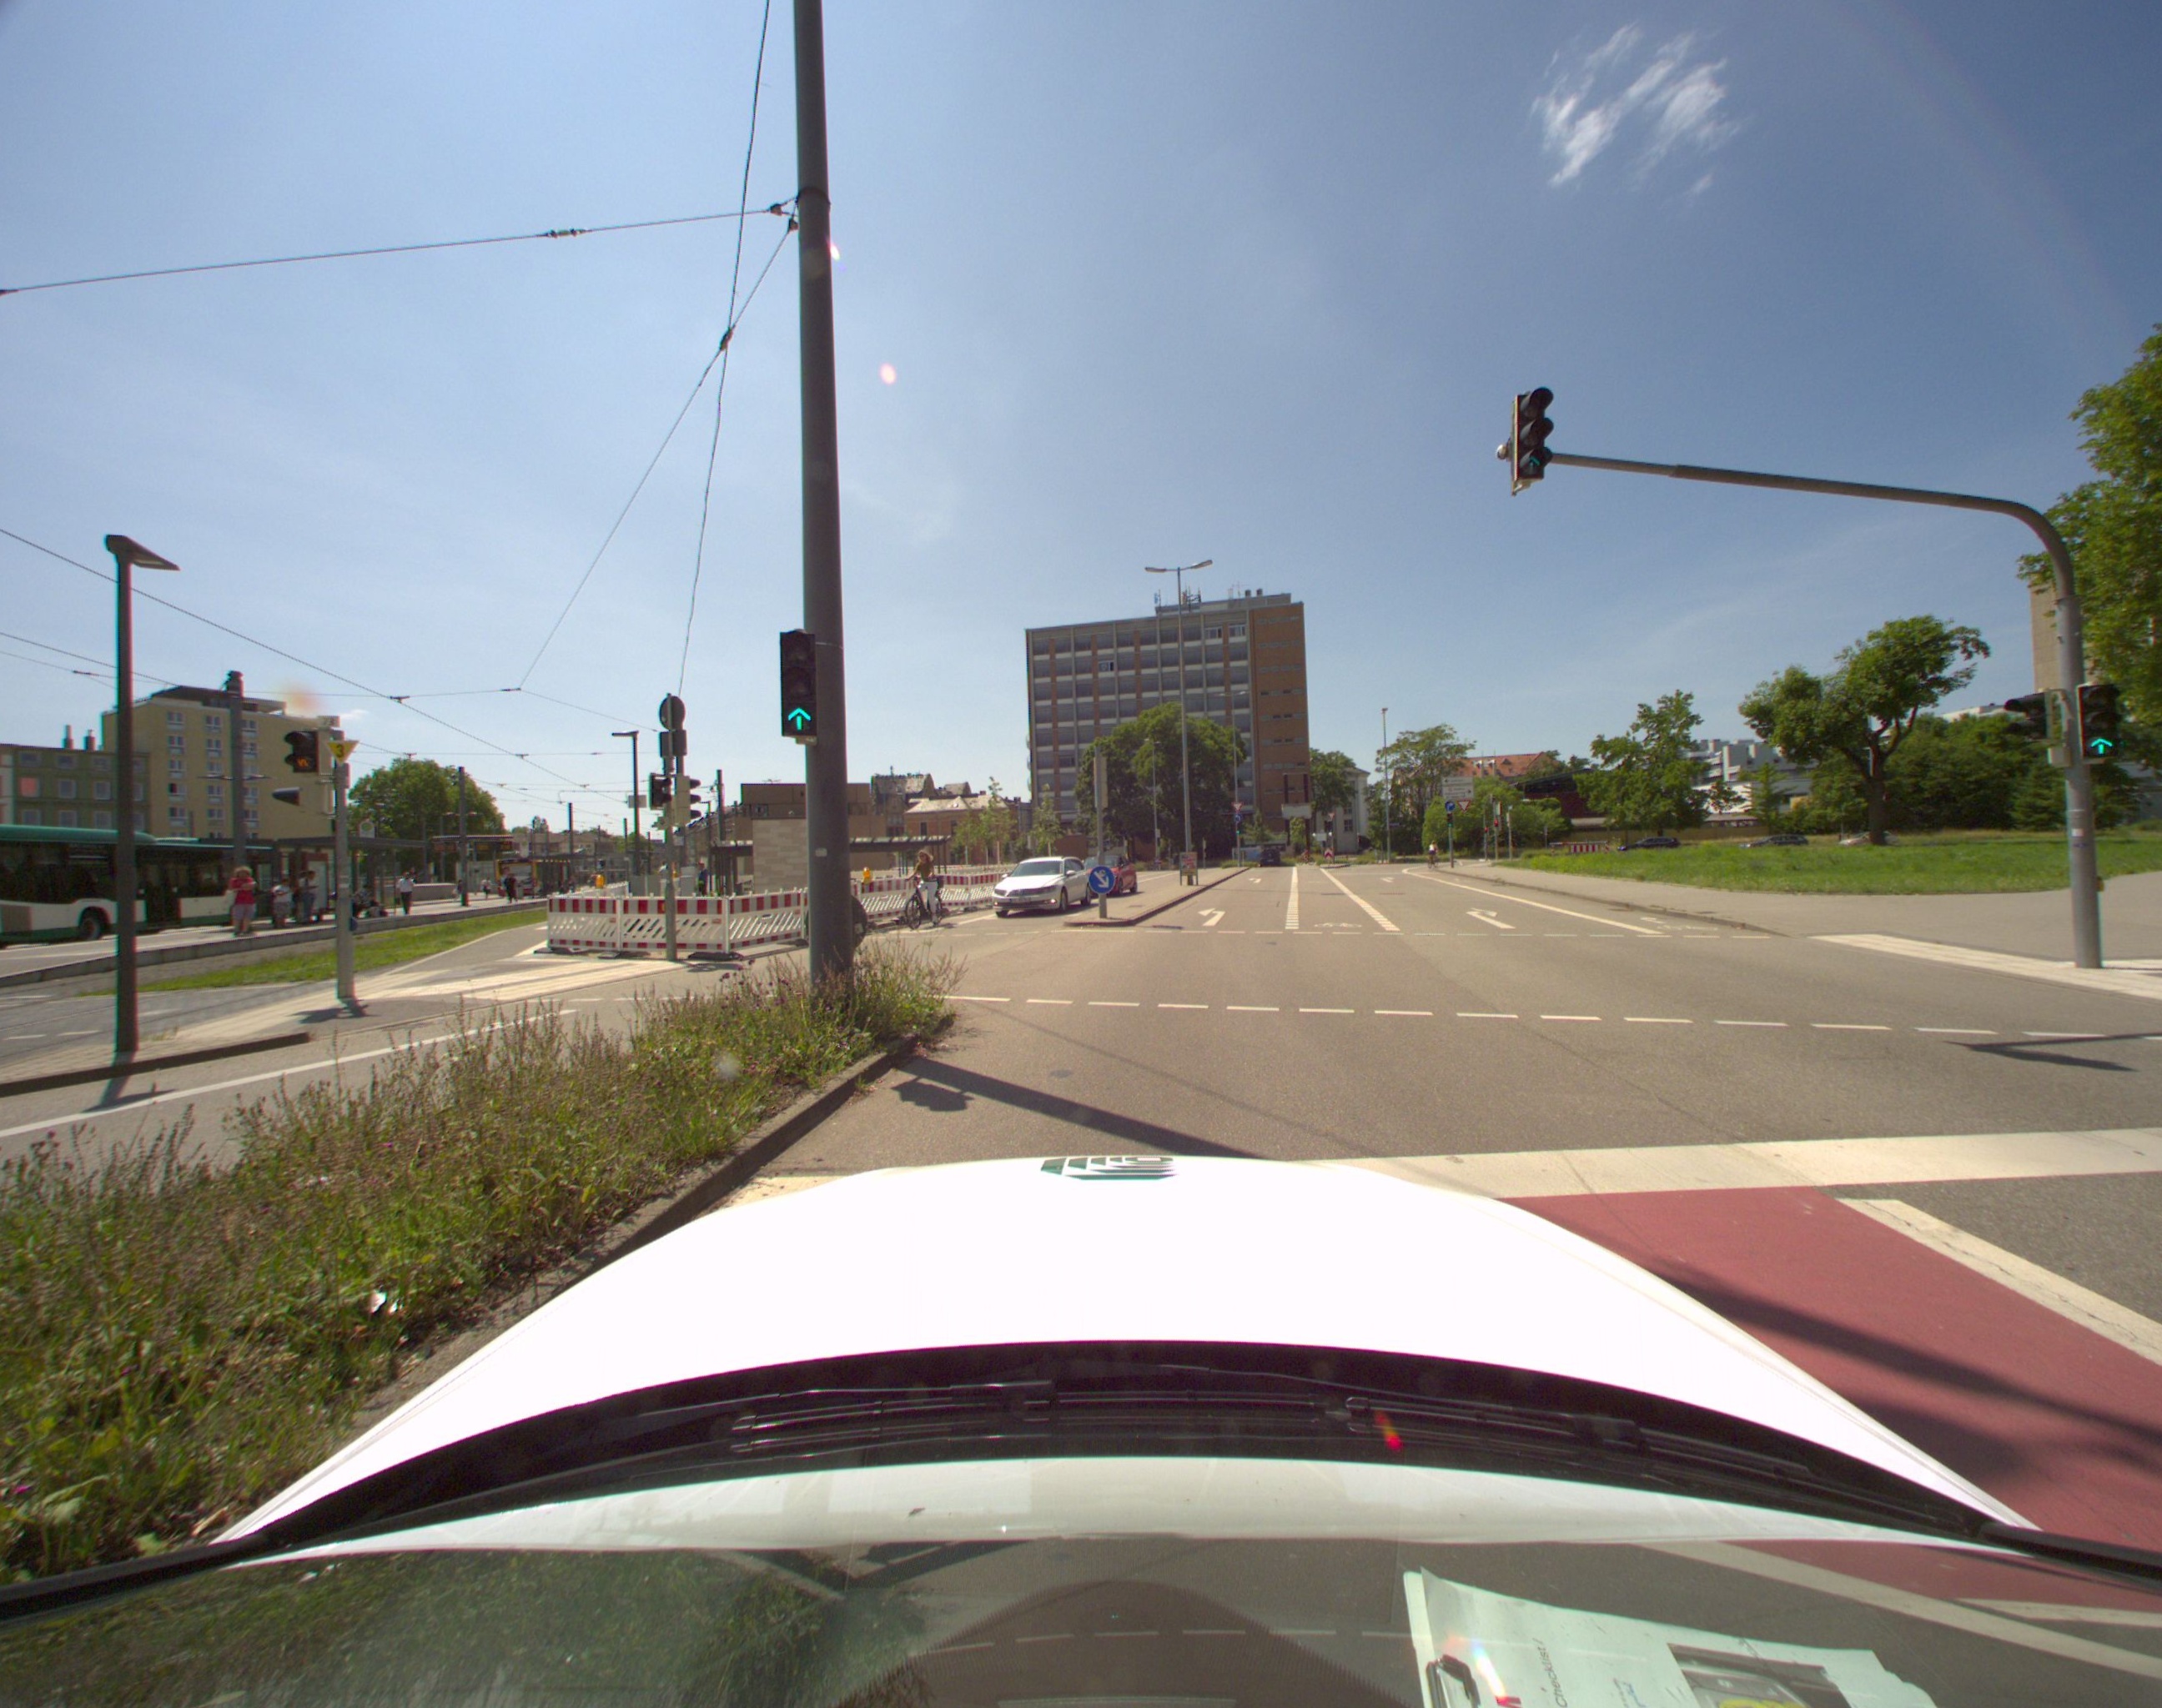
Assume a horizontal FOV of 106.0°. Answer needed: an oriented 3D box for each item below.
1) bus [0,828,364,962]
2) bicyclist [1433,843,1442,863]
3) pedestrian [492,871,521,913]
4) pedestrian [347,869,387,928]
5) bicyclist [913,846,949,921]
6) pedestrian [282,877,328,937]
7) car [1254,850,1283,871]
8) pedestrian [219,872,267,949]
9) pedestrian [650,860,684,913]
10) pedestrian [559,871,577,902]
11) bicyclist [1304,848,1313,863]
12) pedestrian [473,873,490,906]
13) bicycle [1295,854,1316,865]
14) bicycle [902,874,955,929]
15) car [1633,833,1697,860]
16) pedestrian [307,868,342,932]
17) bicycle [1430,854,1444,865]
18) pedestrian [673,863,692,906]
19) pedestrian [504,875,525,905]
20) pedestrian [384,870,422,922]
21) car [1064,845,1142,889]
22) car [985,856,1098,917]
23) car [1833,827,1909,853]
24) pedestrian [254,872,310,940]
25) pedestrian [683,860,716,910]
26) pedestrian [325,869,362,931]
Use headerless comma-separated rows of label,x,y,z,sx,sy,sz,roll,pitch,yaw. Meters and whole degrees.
bus,-29.630,1.156,26.532,3.020,3.158,17.381,-2,0,-19
bicyclist,22.499,-0.066,51.388,0.348,1.227,0.567,-3,-1,37
pedestrian,-29.974,1.957,42.503,0.901,2.096,0.827,-2,0,-16
pedestrian,-26.069,1.609,29.736,0.905,2.096,0.823,-2,-1,-32
bicyclist,-3.547,0.686,19.226,0.562,1.719,0.510,-3,-1,21
pedestrian,-25.058,1.699,26.313,0.917,1.851,0.651,-2,-1,-30
car,14.700,0.530,63.941,1.680,1.527,3.695,-2,0,5
pedestrian,-21.786,1.448,21.178,0.677,1.909,0.634,-2,-1,-30
pedestrian,-15.026,1.165,29.561,0.721,1.864,0.772,-3,-2,29
pedestrian,-36.375,2.284,57.717,0.832,2.096,0.895,-2,0,-21
bicyclist,23.988,0.139,85.884,0.678,1.488,0.789,-3,-2,25
pedestrian,-38.473,2.263,52.244,0.711,2.111,0.649,-2,-1,-44
bicycle,23.732,0.561,85.989,1.988,1.135,0.577,-3,-2,26
bicycle,-3.554,1.088,19.164,0.394,1.174,1.779,-2,0,18
car,48.139,-0.569,67.148,3.955,2.014,1.476,-2,-2,17
pedestrian,-25.709,1.549,27.702,0.704,2.096,0.638,-2,-1,-32
bicycle,22.458,0.342,51.380,0.373,0.646,1.655,-3,0,37
pedestrian,-18.457,1.405,37.740,0.722,1.923,1.065,-1,-2,-25
pedestrian,-36.268,2.293,52.133,0.979,1.834,0.767,-2,-1,-44
pedestrian,-28.086,1.712,33.739,0.901,2.096,0.827,-2,0,-16
car,0.872,0.449,29.315,1.718,1.425,4.142,-3,-1,17
car,-0.942,0.814,22.418,1.981,1.438,4.719,-2,-1,11
car,61.377,-1.068,63.363,3.955,1.871,1.476,-2,-2,17
pedestrian,-24.516,1.577,25.003,0.947,1.990,1.018,-2,0,-30
pedestrian,-14.456,1.150,30.895,0.984,1.832,0.627,-2,-1,-35
pedestrian,-25.957,1.614,28.675,0.829,2.096,0.635,-2,-1,-32
